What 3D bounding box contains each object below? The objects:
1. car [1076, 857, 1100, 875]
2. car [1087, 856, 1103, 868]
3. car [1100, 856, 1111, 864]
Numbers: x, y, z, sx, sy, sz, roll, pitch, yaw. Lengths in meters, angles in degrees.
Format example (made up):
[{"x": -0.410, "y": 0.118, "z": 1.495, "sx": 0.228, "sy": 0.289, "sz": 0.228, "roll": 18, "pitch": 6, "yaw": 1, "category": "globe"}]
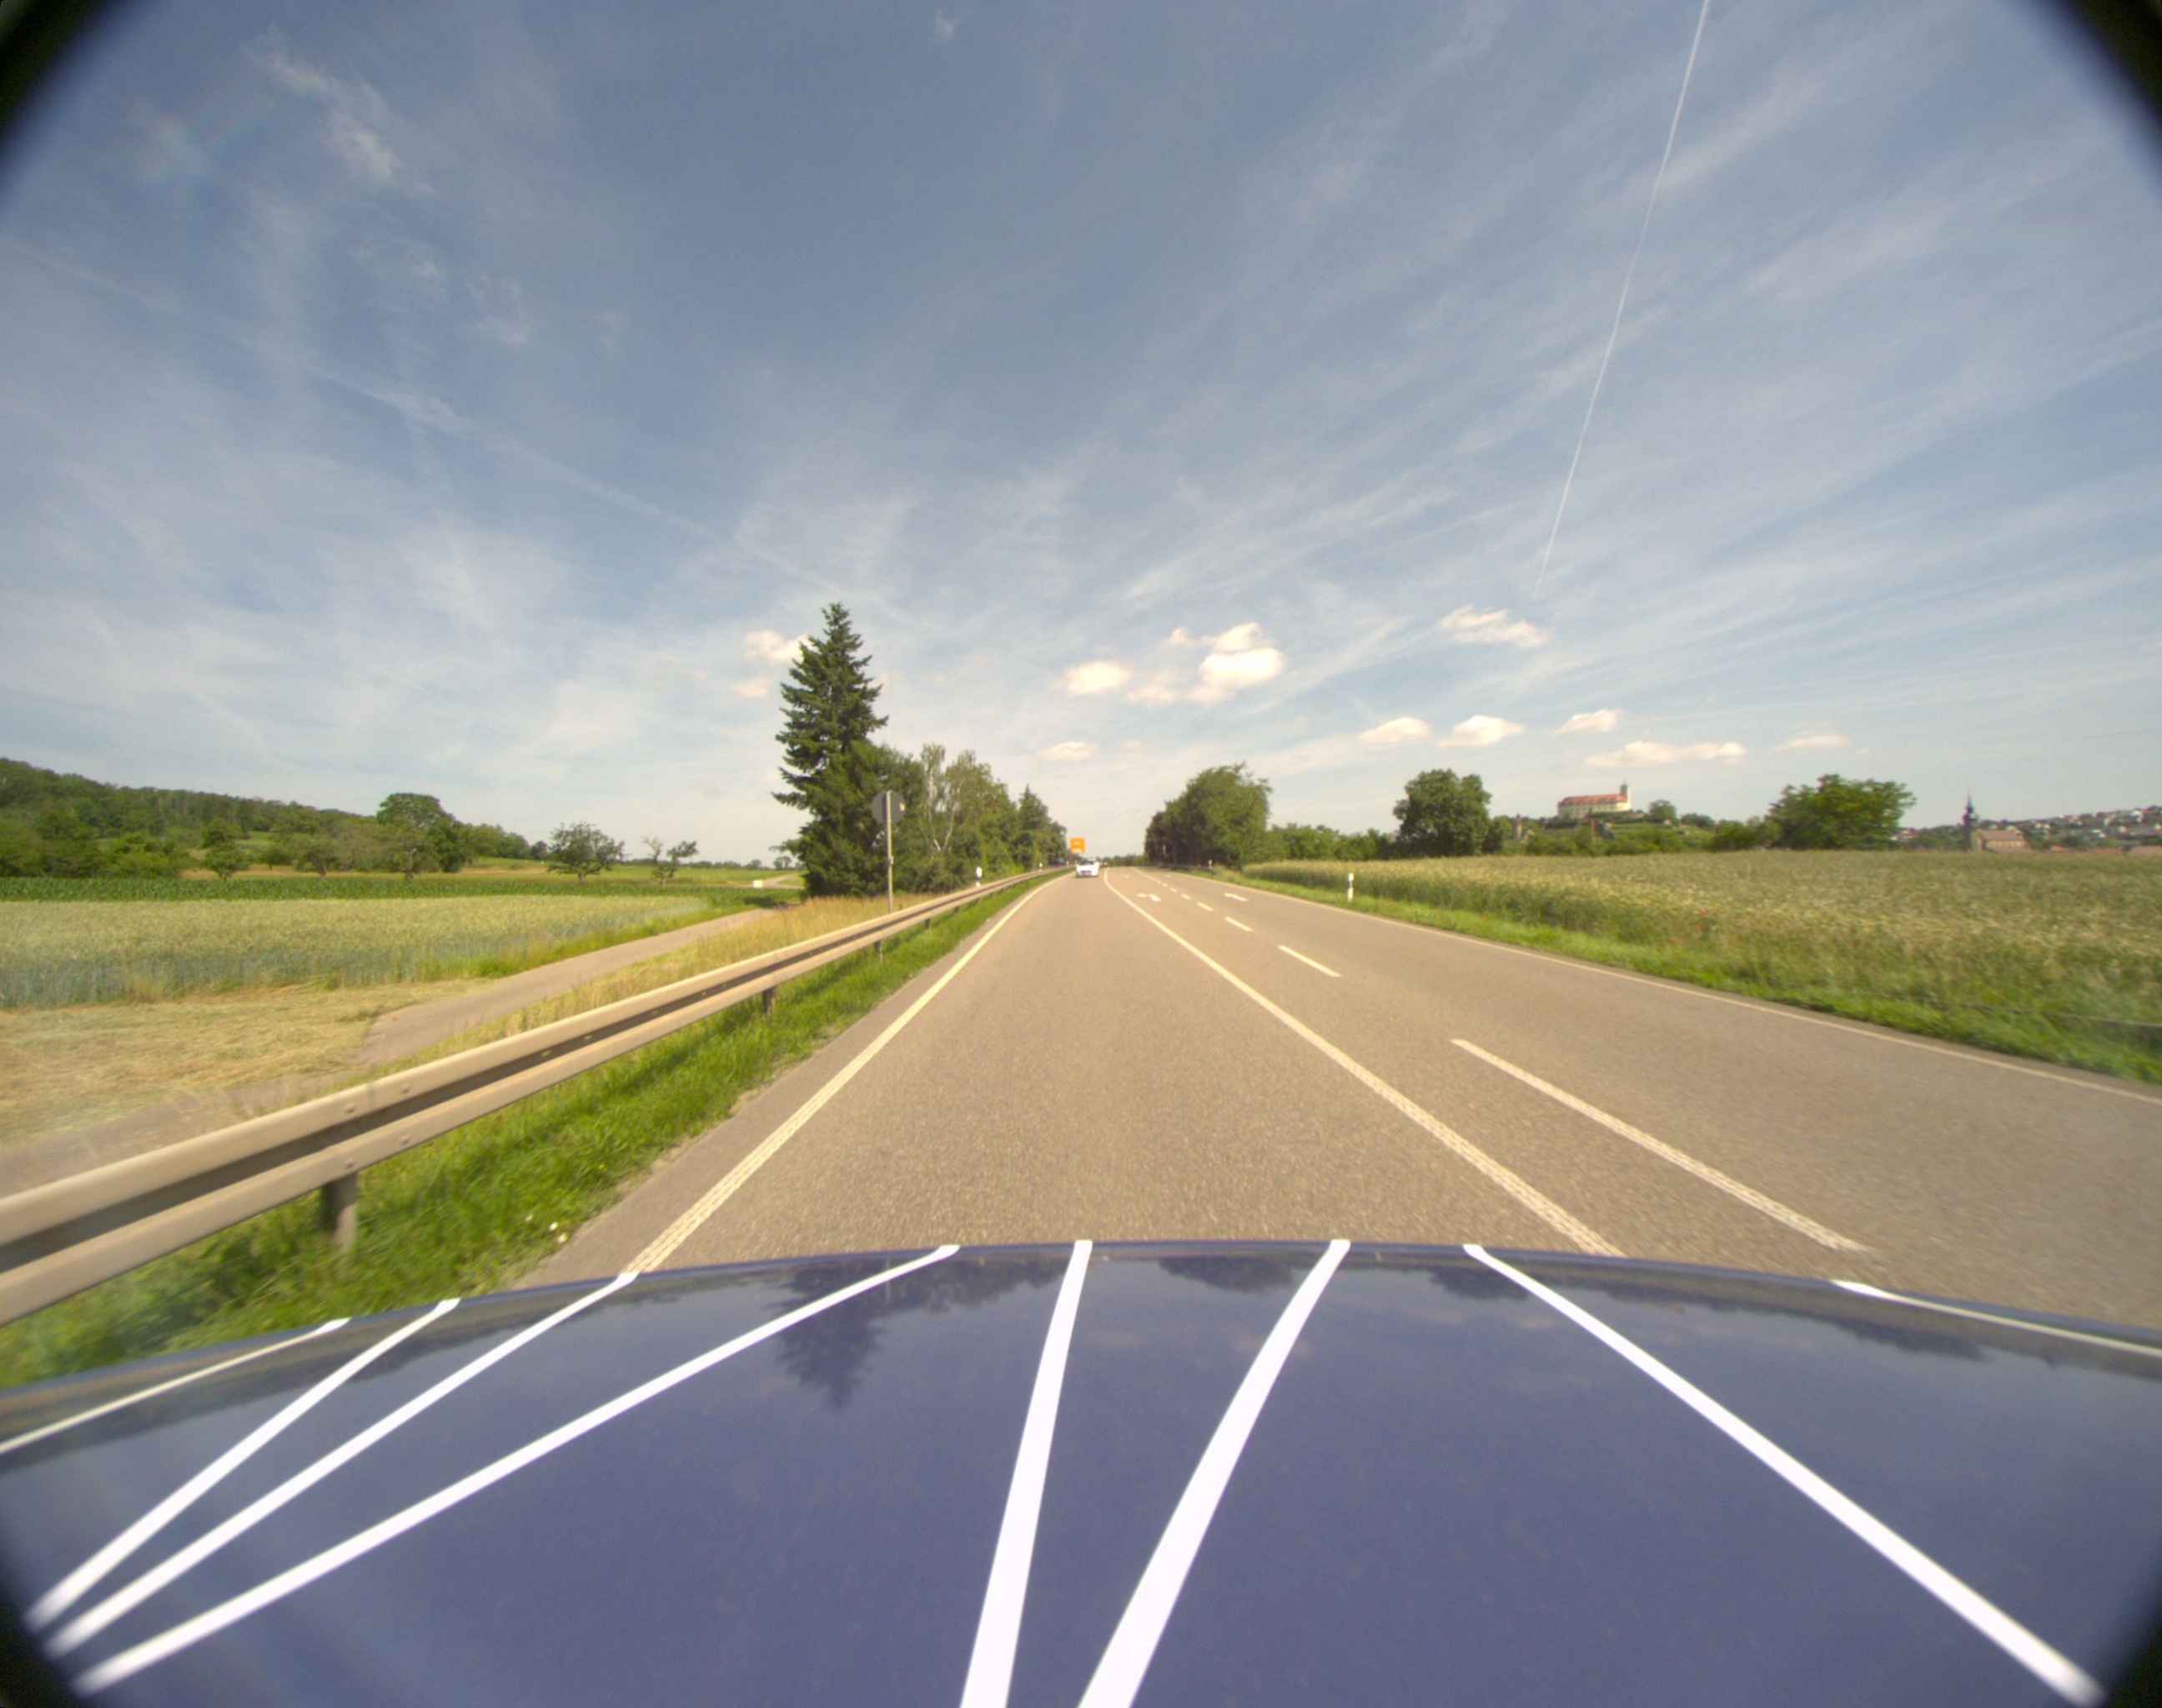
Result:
[{"x": 0.610, "y": 1.014, "z": 64.994, "sx": 1.929, "sy": 1.441, "sz": 4.534, "roll": -2, "pitch": 0, "yaw": 0, "category": "car"}, {"x": 1.740, "y": 1.011, "z": 95.960, "sx": 1.929, "sy": 1.441, "sz": 4.001, "roll": 0, "pitch": 0, "yaw": 2, "category": "car"}, {"x": 4.607, "y": 1.201, "z": 144.478, "sx": 1.929, "sy": 1.441, "sz": 4.001, "roll": -1, "pitch": -1, "yaw": 1, "category": "car"}]
